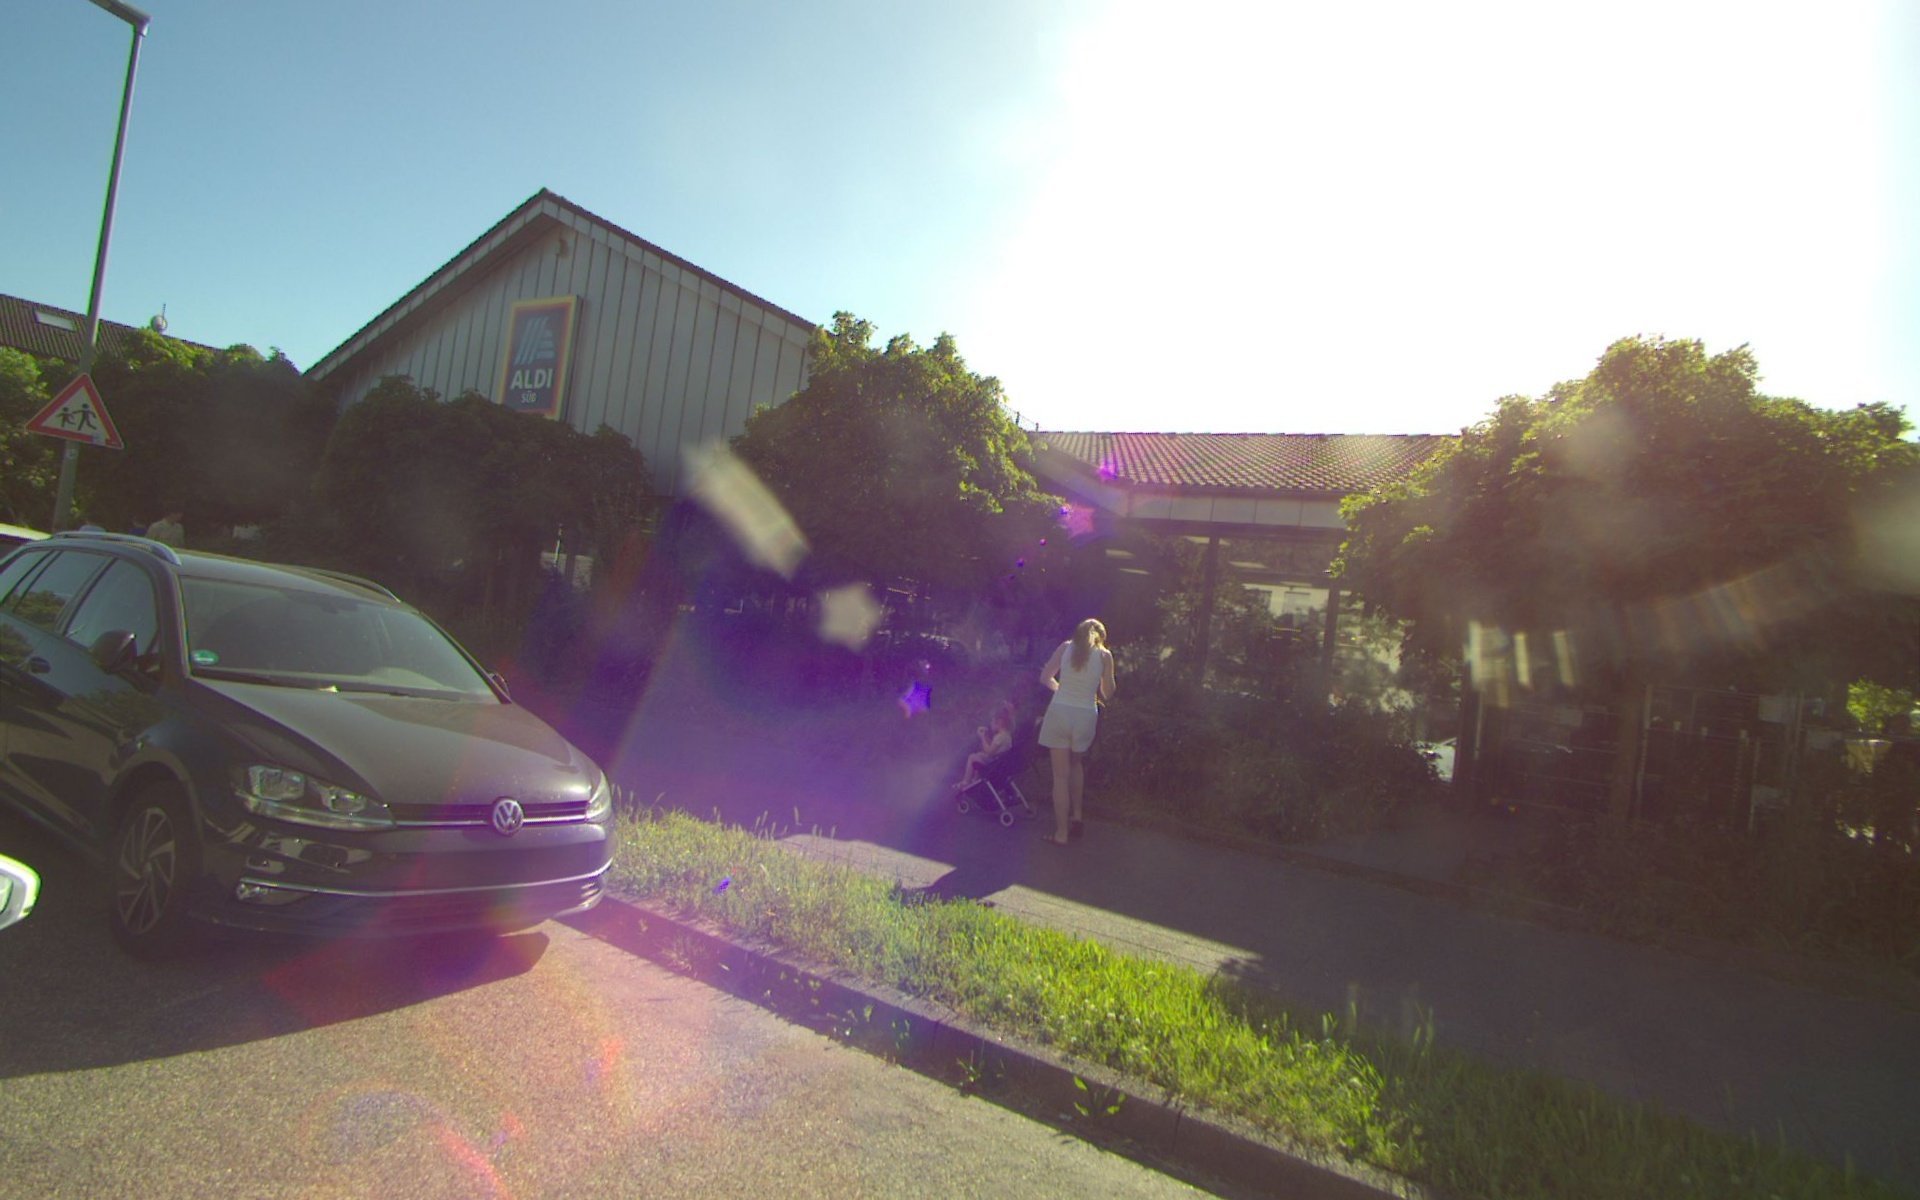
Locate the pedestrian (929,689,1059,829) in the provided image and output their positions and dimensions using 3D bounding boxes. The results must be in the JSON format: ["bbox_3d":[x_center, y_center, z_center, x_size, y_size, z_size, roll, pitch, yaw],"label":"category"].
[{"bbox_3d":[0.281,1.297,8.300,0.798,0.991,0.532,6,-3,39],"label":"pedestrian"}]

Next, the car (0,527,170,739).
[{"bbox_3d":[-8.386,0.060,8.014,3.932,1.467,1.832,6,-3,30],"label":"car"}]

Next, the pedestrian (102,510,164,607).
[{"bbox_3d":[-14.932,-0.745,18.162,0.538,1.655,0.567,7,-2,37],"label":"pedestrian"}]

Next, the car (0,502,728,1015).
[{"bbox_3d":[-3.446,0.453,5.002,4.291,1.459,1.812,6,-3,32],"label":"car"}]

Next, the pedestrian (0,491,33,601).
[{"bbox_3d":[-14.926,-0.861,15.585,0.538,1.655,0.567,7,-2,37],"label":"pedestrian"}]

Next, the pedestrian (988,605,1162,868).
[{"bbox_3d":[0.886,1.011,7.668,0.797,1.802,0.798,7,-2,39],"label":"pedestrian"}]

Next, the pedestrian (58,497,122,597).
[{"bbox_3d":[-15.265,-0.926,17.646,0.538,1.655,0.567,7,-2,37],"label":"pedestrian"}]

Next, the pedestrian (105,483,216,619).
[{"bbox_3d":[-12.081,-0.728,15.218,0.858,1.882,0.797,7,-2,24],"label":"pedestrian"}]
